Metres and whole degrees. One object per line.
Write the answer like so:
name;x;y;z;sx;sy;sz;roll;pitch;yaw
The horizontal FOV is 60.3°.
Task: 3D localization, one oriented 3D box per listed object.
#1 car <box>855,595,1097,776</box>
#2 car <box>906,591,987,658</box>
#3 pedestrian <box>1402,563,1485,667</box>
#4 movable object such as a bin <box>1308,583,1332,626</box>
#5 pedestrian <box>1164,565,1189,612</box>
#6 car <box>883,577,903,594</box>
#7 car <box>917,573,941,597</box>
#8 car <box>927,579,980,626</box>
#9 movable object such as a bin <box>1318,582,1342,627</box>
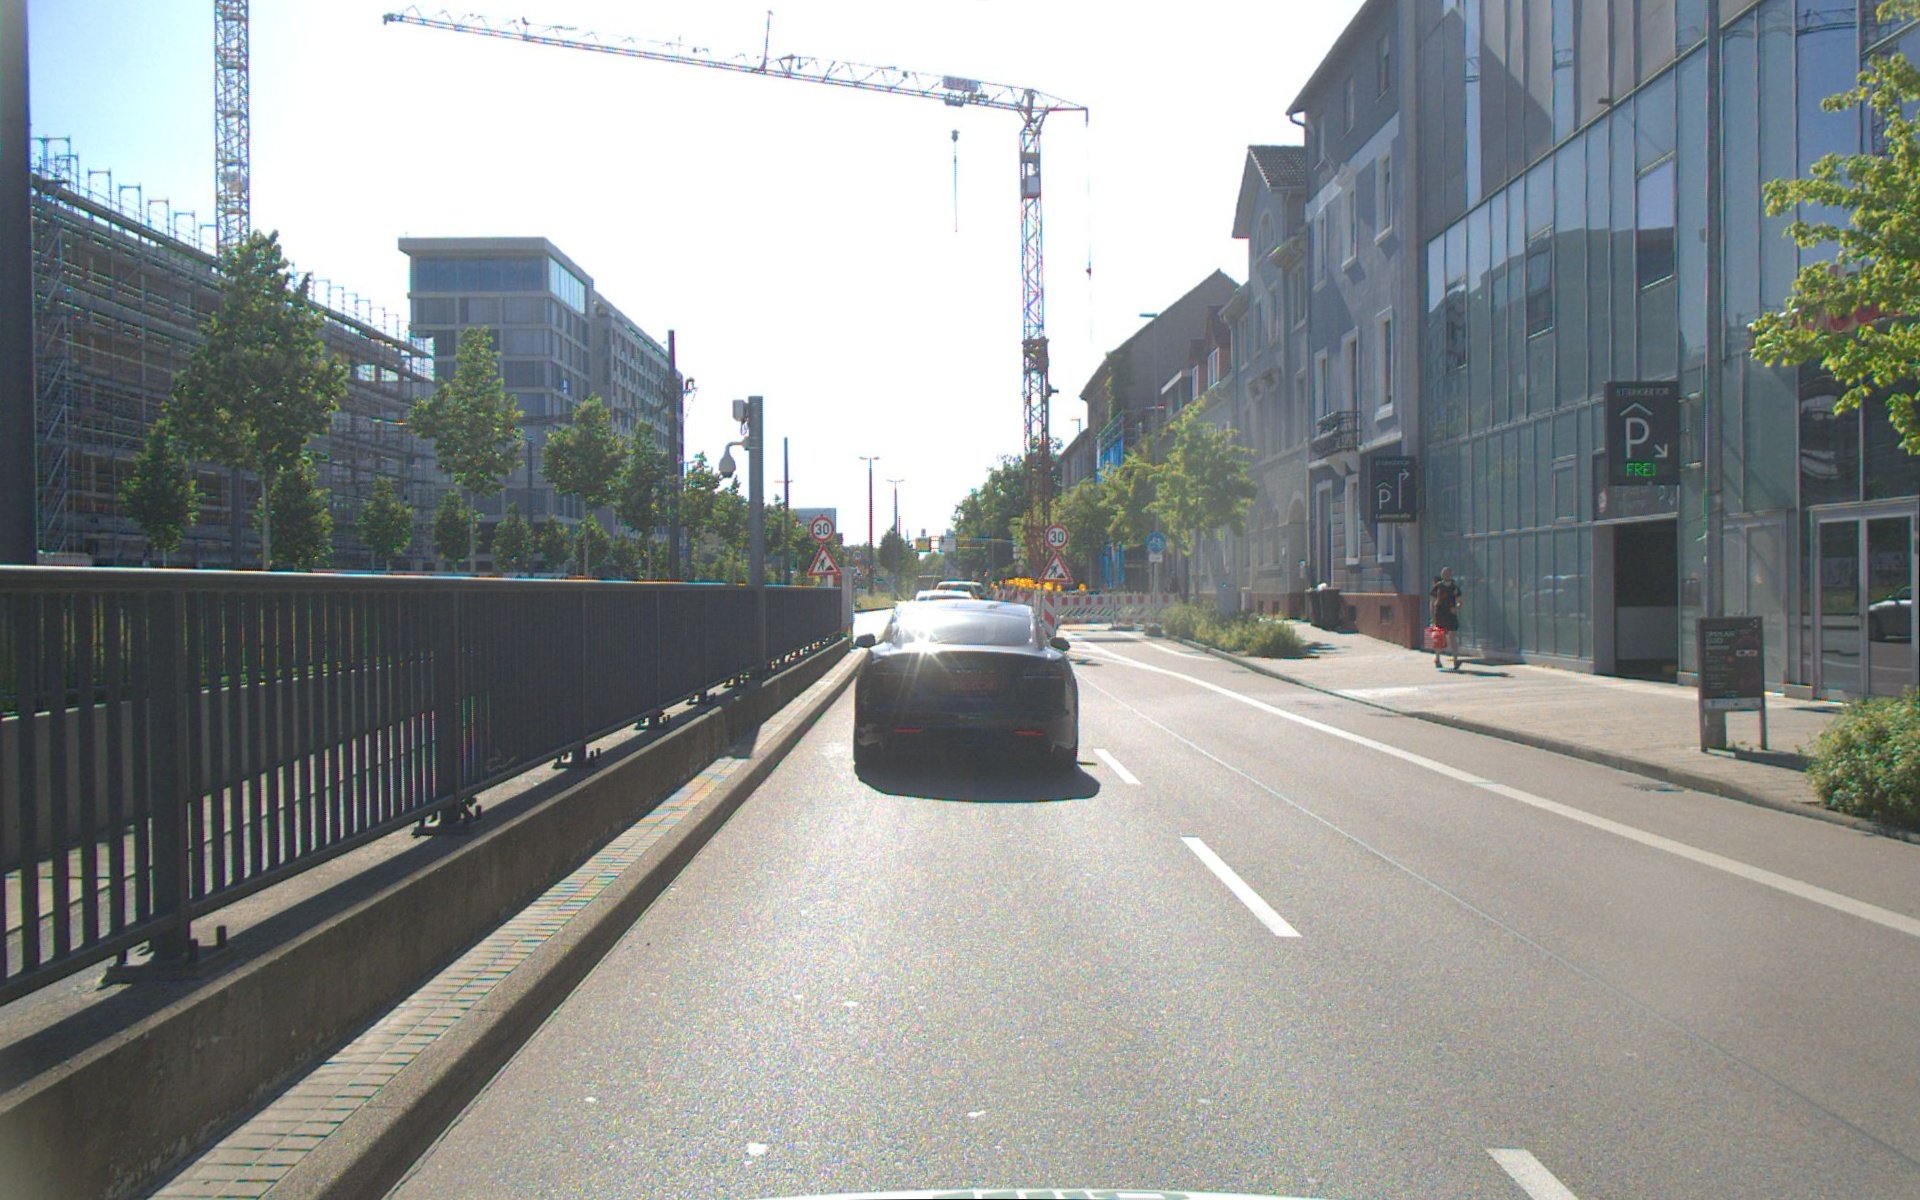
car;0.086;0.688;15.611;1.959;1.459;4.411;0;0;-1
car;-0.262;0.509;36.453;1.681;1.343;4.001;0;1;0
pedestrian;9.119;0.275;31.266;1.073;1.896;1.522;-1;0;-2
movable object such as a bin;10.036;0.118;46.128;0.547;1.189;0.563;1;0;3
pedestrian;8.746;-0.462;66.804;0.834;1.896;0.929;-1;0;-2
car;-6.878;-1.473;169.207;1.953;1.713;3.999;1;0;-1
car;-2.475;-1.208;132.932;1.776;1.841;4.039;0;1;1
car;-0.201;0.073;58.166;1.748;1.573;4.039;0;1;1
movable object such as a bin;10.122;0.121;45.280;0.547;1.189;0.563;1;0;3
